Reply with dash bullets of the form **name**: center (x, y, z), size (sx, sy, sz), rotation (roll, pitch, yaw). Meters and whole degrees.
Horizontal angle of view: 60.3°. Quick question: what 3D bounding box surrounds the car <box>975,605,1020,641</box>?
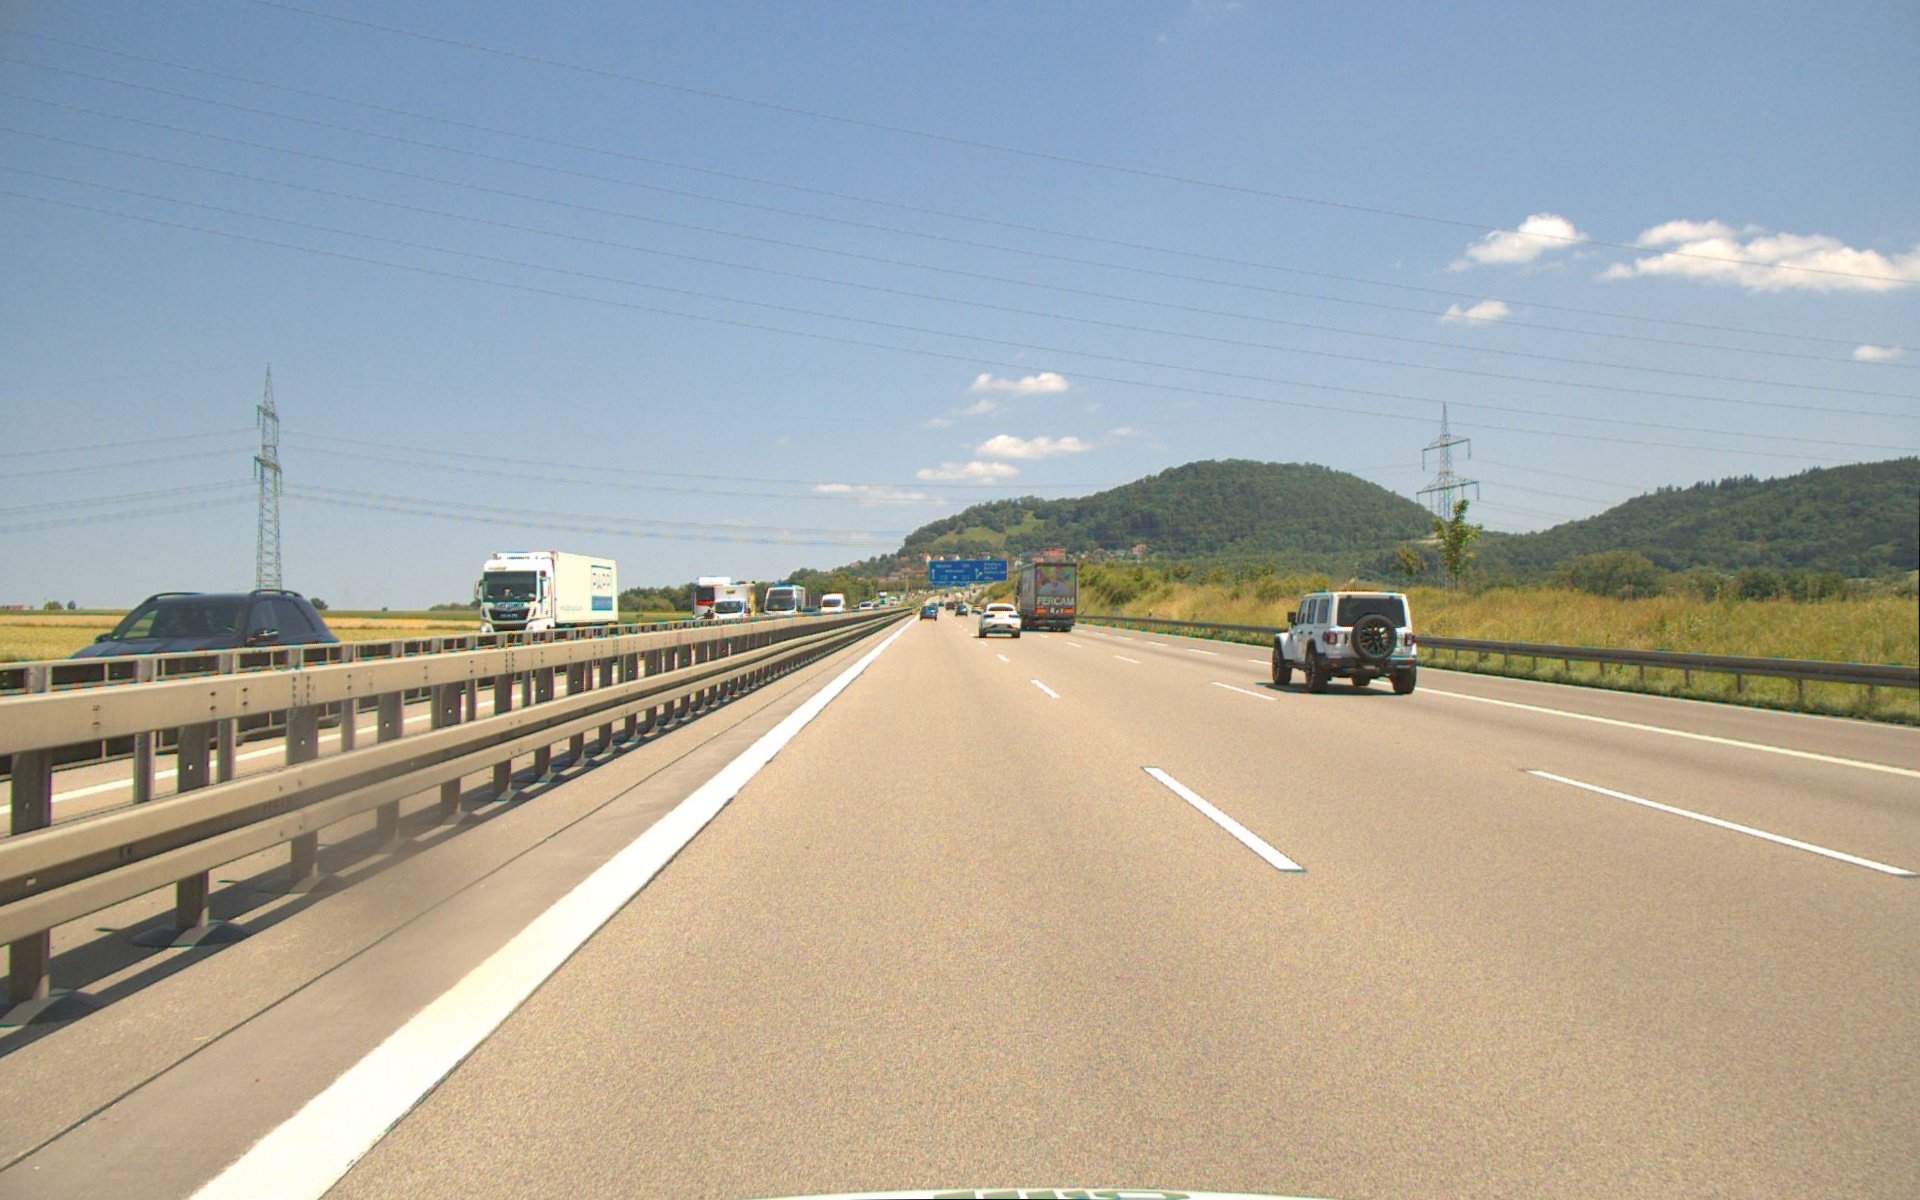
- **car**: center (1.770, 1.090, 79.125), size (1.875, 1.608, 5.229), rotation (1, -1, -1)

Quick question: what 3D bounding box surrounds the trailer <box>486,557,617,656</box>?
- **trailer**: center (-18.034, 0.335, 74.038), size (2.898, 3.986, 12.889), rotation (1, -1, -1)

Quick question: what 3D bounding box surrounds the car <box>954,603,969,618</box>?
- **car**: center (0.199, 1.462, 224.859), size (1.953, 2.049, 3.999), rotation (1, -1, 0)

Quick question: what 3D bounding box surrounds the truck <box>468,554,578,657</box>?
- **truck**: center (-17.890, 0.266, 68.122), size (2.880, 3.999, 6.474), rotation (1, -1, -1)

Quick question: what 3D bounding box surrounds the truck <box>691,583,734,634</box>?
- **truck**: center (-19.037, 0.685, 127.435), size (2.664, 3.755, 6.052), rotation (1, -1, -3)

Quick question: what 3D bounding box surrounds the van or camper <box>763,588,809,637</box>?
- **van or camper**: center (-10.424, 0.755, 99.568), size (2.114, 2.783, 7.294), rotation (-1, 0, -1)

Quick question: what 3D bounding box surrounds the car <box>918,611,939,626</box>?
- **car**: center (-3.065, 1.836, 160.989), size (1.953, 1.413, 3.999), rotation (1, -1, 0)

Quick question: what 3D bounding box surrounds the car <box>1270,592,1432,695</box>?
- **car**: center (7.435, 0.792, 31.865), size (1.993, 1.836, 4.248), rotation (0, 0, -2)

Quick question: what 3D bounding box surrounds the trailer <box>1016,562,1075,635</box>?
- **trailer**: center (5.254, -0.003, 103.495), size (2.670, 4.228, 11.803), rotation (1, -1, -2)

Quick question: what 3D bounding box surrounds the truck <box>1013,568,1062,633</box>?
- **truck**: center (5.106, 0.075, 109.751), size (2.697, 4.091, 6.786), rotation (1, -1, -1)

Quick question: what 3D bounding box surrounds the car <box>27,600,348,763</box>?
- **car**: center (-9.009, 0.890, 19.739), size (1.773, 1.669, 4.427), rotation (-2, -1, -1)

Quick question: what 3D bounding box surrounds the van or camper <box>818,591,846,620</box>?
- **van or camper**: center (-11.689, 0.524, 151.418), size (2.080, 2.620, 6.120), rotation (1, -1, -1)

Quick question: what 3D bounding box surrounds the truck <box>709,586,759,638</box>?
- **truck**: center (-14.179, 0.762, 104.183), size (2.204, 3.062, 7.426), rotation (-2, -1, -1)
